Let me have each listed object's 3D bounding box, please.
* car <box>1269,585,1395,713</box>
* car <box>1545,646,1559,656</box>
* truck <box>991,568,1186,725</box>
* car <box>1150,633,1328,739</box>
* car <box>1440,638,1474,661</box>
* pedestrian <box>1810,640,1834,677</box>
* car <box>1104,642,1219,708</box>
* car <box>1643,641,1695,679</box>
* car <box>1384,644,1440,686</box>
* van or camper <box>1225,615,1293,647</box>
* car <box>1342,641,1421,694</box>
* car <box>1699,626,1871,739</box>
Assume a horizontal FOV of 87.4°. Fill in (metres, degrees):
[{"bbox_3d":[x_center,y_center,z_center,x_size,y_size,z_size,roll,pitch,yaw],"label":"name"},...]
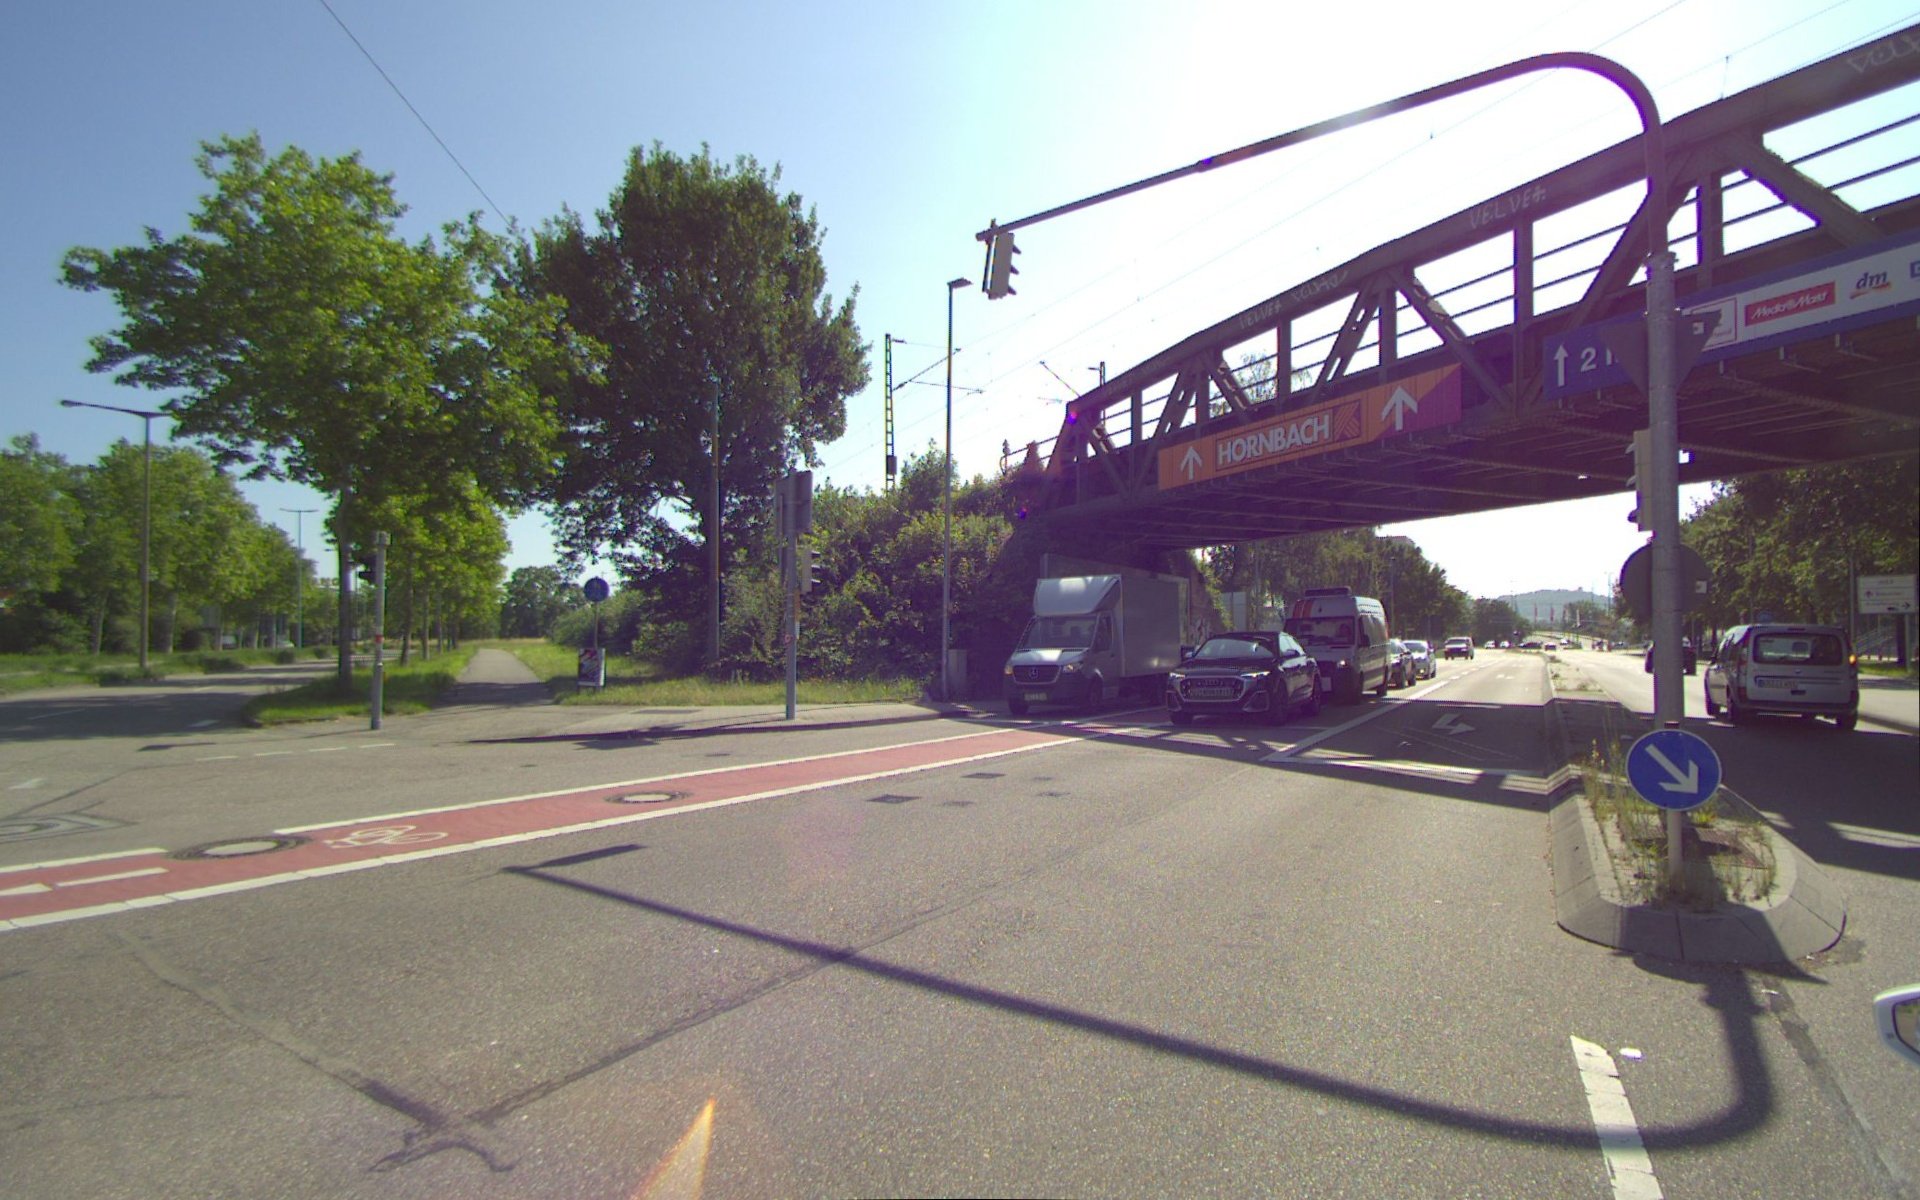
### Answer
[{"bbox_3d":[9.737,1.277,25.853,1.964,2.841,6.928,-3,-4,28],"label":"car"},{"bbox_3d":[105.661,9.038,179.249,1.965,1.706,3.992,-1,-3,31],"label":"car"},{"bbox_3d":[3.283,1.072,23.708,2.305,3.129,7.062,-1,-2,27],"label":"truck"},{"bbox_3d":[5.381,1.494,18.855,1.965,1.703,4.940,-1,-3,31],"label":"car"},{"bbox_3d":[44.834,4.431,90.479,1.967,2.040,5.330,-2,-3,35],"label":"car"},{"bbox_3d":[38.190,2.571,44.496,0.638,1.624,0.845,-1,-3,32],"label":"pedestrian"},{"bbox_3d":[5.967,2.136,29.415,1.956,1.712,4.278,-3,-2,31],"label":"car"},{"bbox_3d":[32.724,2.726,46.469,1.782,1.661,4.447,-1,-3,33],"label":"car"},{"bbox_3d":[17.833,2.541,39.559,1.619,1.514,3.822,-3,-2,30],"label":"car"},{"bbox_3d":[25.901,2.641,87.109,5.298,2.503,1.997,2,0,29],"label":"van or camper"},{"bbox_3d":[13.613,2.144,32.337,1.743,1.514,4.169,-3,-2,31],"label":"car"},{"bbox_3d":[15.165,1.454,18.705,1.878,1.853,4.171,-1,-3,31],"label":"car"}]
